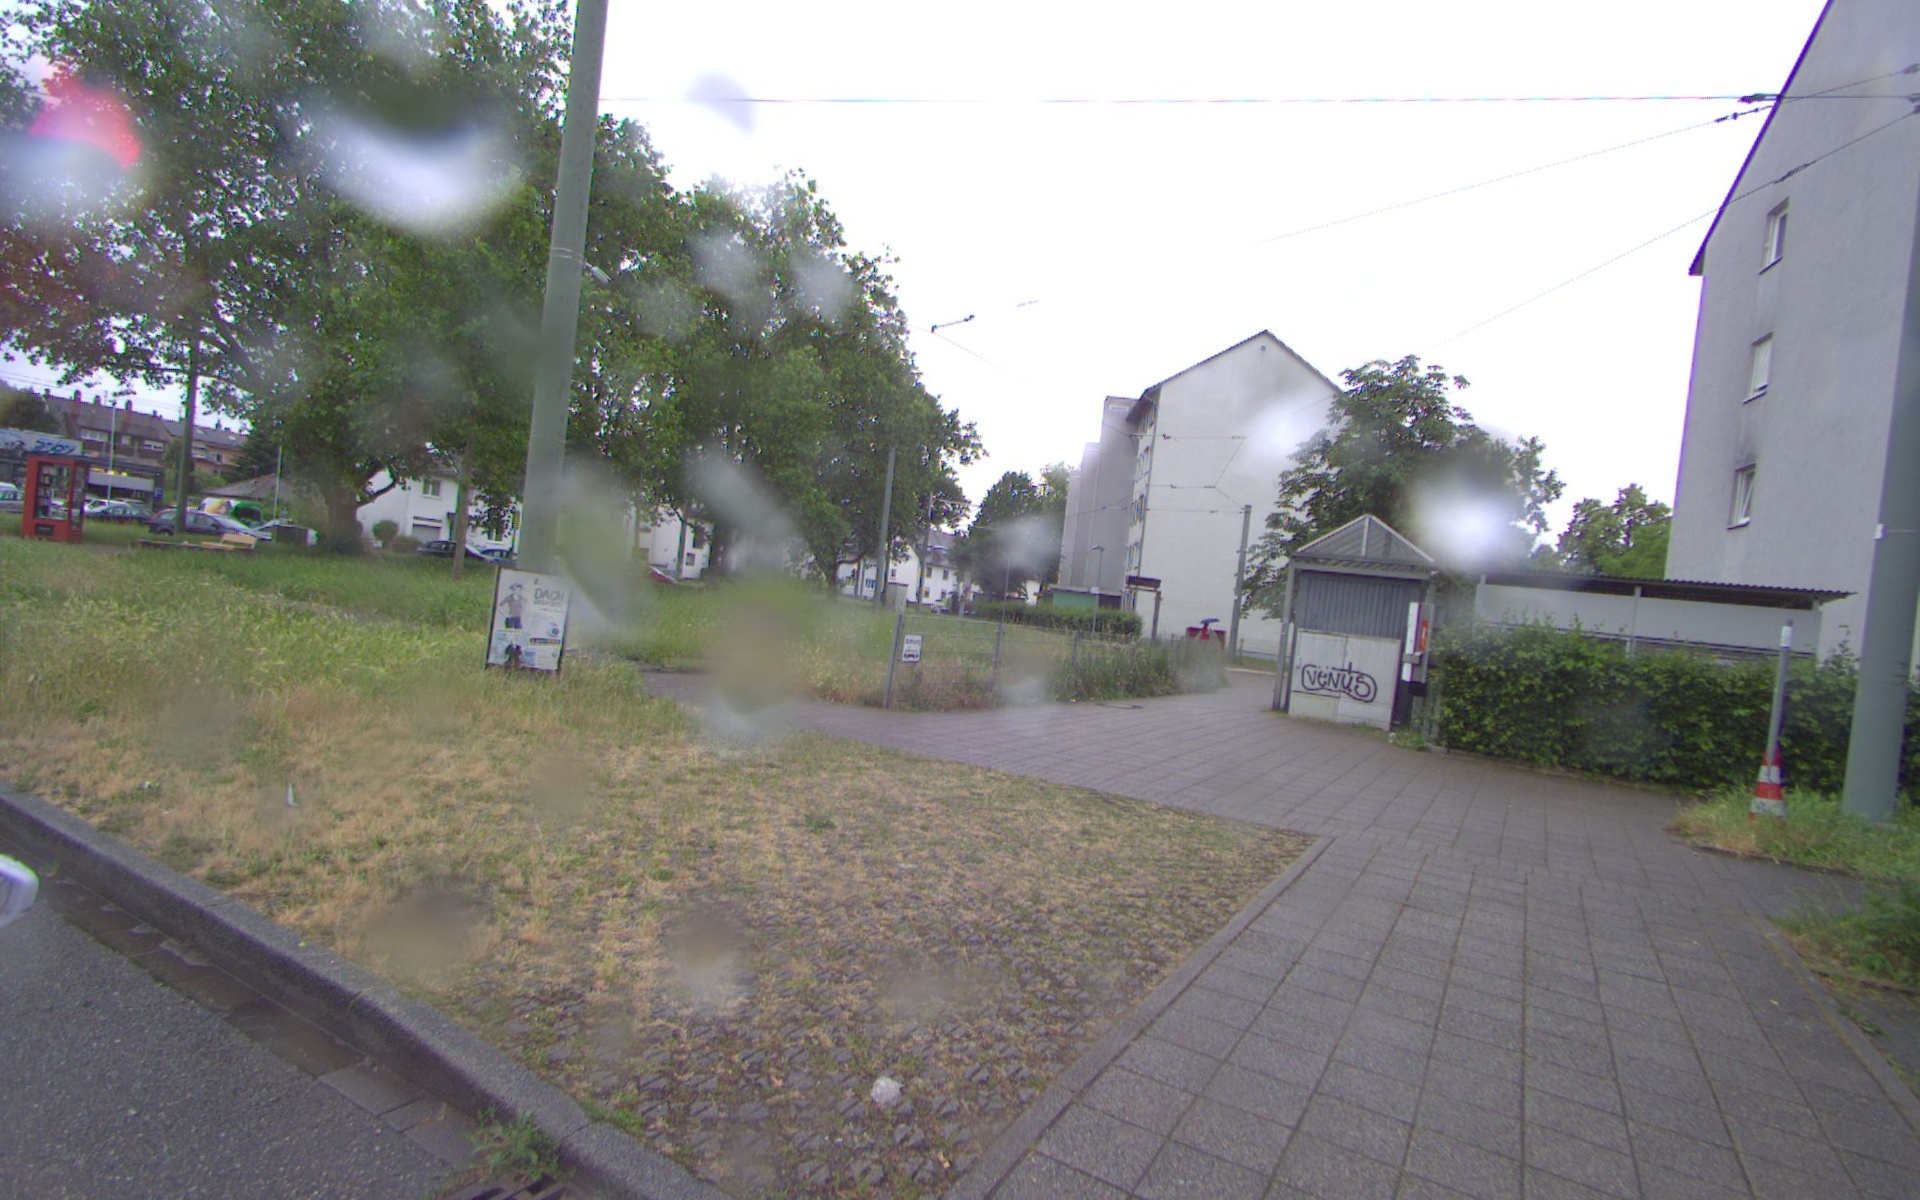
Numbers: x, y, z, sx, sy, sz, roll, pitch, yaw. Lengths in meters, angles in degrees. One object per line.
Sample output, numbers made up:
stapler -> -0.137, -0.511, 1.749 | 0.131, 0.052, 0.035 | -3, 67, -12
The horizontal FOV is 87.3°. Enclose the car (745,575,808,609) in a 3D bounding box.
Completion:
car -> -12.746, -0.542, 70.106 | 3.843, 1.785, 1.812 | 7, -2, 0

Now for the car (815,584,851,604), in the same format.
car -> -14.093, -0.618, 111.610 | 1.859, 1.679, 3.692 | 6, -2, 32

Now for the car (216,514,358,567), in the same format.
car -> -25.163, -2.201, 37.713 | 1.819, 1.300, 3.987 | 6, -3, 39

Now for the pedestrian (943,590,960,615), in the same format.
pedestrian -> -0.667, 0.211, 77.253 | 1.022, 1.811, 0.818 | 7, -1, -3

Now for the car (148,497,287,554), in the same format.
car -> -29.159, -2.890, 39.646 | 3.855, 1.512, 1.806 | 8, -2, -15

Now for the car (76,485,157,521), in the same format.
car -> -61.692, -7.071, 73.621 | 1.968, 1.811, 3.992 | 6, -2, 34

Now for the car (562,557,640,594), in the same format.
car -> -20.114, -1.354, 56.536 | 3.855, 1.512, 1.806 | 8, -2, -15

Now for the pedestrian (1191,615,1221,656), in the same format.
pedestrian -> 10.845, 1.565, 44.316 | 0.806, 1.674, 0.889 | 6, -1, 41

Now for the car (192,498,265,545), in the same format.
car -> -46.748, -5.048, 64.269 | 4.280, 2.471, 1.998 | 6, -2, 31

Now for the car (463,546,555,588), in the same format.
car -> -22.815, -1.658, 51.066 | 3.855, 1.512, 1.806 | 8, -2, -15

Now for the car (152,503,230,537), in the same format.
car -> -55.469, -5.755, 72.606 | 1.816, 1.658, 3.995 | 6, -2, 32

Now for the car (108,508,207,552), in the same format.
car -> -43.430, -3.775, 54.512 | 1.859, 1.720, 3.692 | 6, -2, 32

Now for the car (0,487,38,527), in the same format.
car -> -54.727, -5.447, 56.354 | 1.966, 1.973, 3.997 | 6, -2, 30

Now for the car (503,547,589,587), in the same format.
car -> -21.981, -1.721, 53.502 | 3.855, 1.512, 1.806 | 8, -2, -15

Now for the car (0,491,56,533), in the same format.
car -> -46.585, -4.423, 48.729 | 1.859, 1.720, 3.692 | 6, -2, 32

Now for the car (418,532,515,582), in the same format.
car -> -23.733, -2.035, 48.533 | 3.710, 1.819, 1.806 | 8, -2, -15

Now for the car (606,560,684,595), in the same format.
car -> -18.631, -1.327, 59.592 | 3.842, 1.513, 1.812 | 7, -2, 3

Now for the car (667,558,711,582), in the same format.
car -> -25.717, -2.794, 95.527 | 1.859, 1.679, 3.692 | 6, -2, 32
